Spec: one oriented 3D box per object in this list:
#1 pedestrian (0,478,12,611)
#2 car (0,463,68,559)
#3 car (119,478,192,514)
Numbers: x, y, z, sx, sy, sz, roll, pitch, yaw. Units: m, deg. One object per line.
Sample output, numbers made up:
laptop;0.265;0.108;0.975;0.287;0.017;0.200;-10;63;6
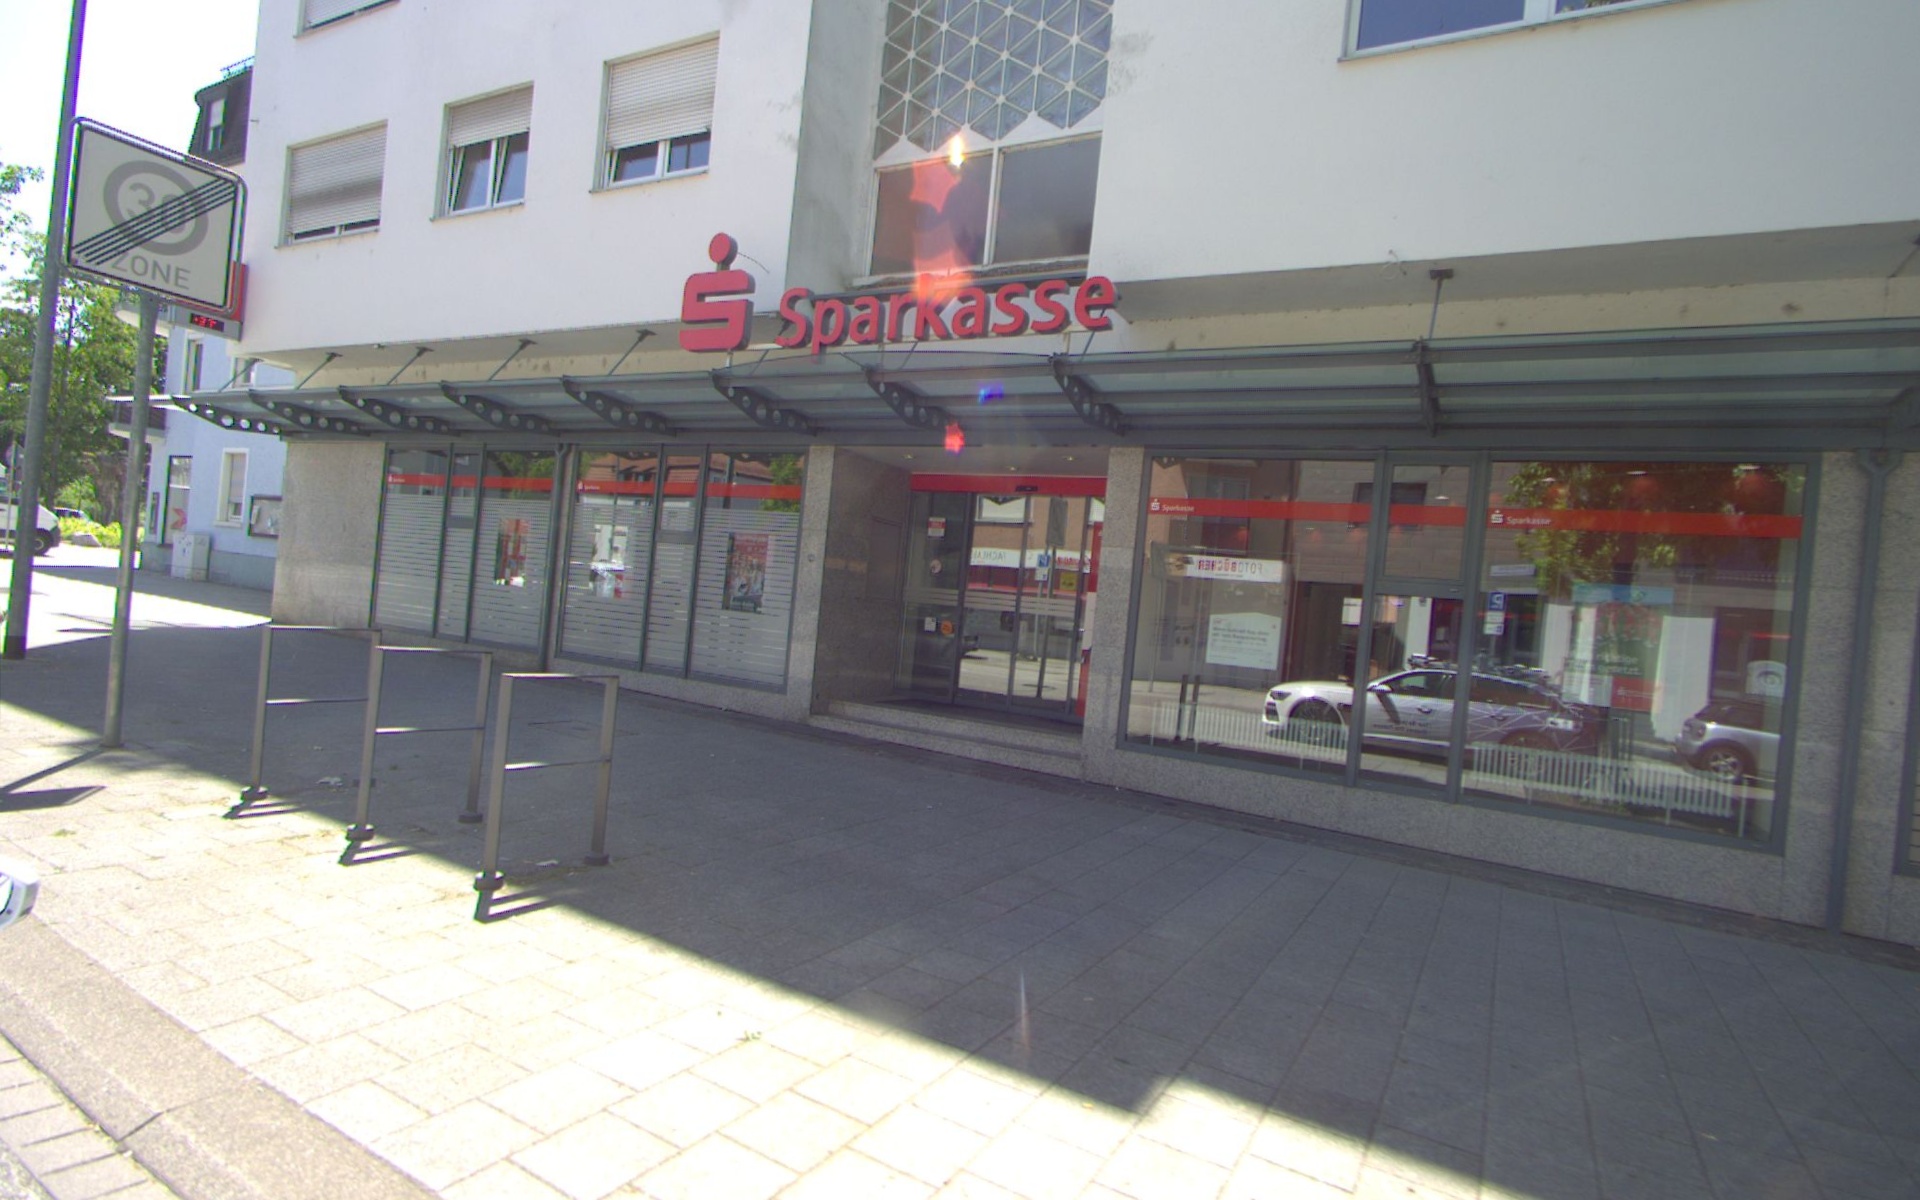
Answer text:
pedestrian;-8.659;-0.275;8.496;0.550;1.630;0.733;6;1;32
car;-27.645;-2.662;26.990;1.963;2.510;5.486;9;0;5
car;-60.506;-7.778;75.751;3.961;2.038;1.982;7;0;-34
